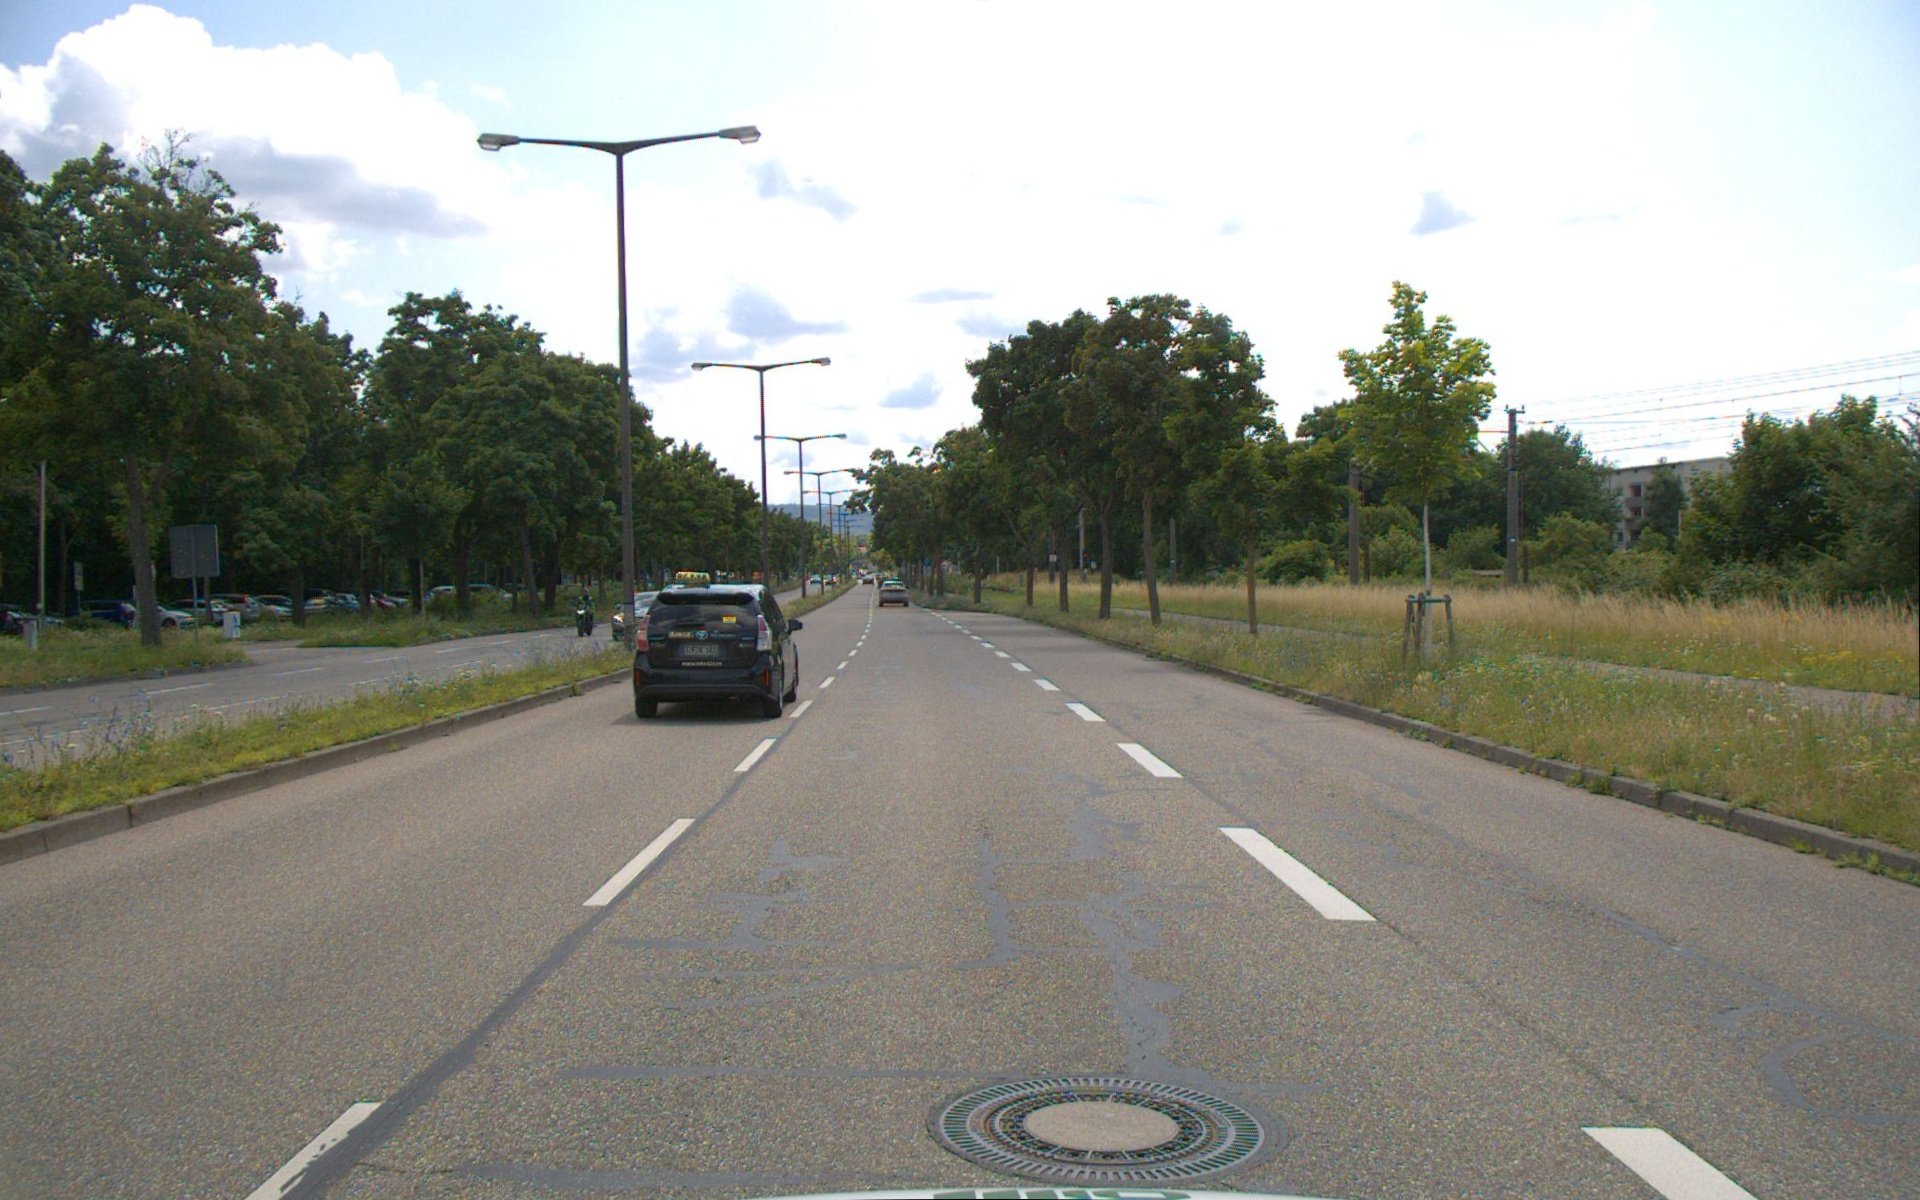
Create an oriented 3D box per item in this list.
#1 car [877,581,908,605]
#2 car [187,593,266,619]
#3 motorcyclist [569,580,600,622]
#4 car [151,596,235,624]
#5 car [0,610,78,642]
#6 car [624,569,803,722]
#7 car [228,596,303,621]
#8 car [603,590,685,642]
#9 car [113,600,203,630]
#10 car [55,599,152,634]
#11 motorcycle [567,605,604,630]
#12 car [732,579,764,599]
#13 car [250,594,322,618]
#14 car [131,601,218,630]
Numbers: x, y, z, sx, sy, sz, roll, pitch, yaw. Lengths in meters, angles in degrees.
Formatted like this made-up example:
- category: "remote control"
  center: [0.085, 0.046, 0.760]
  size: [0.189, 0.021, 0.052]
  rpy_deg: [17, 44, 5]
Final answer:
- category: "car"
  center: [-4.476, -0.466, 109.610]
  size: [1.954, 1.534, 3.998]
  rpy_deg: [0, 1, -4]
- category: "car"
  center: [-41.818, 0.349, 94.310]
  size: [3.706, 1.412, 1.786]
  rpy_deg: [0, 1, 2]
- category: "motorcyclist"
  center: [-13.013, 0.027, 57.320]
  size: [0.810, 1.438, 1.328]
  rpy_deg: [0, 1, -2]
- category: "car"
  center: [-41.276, 0.544, 89.067]
  size: [3.706, 1.412, 1.786]
  rpy_deg: [0, 1, 2]
- category: "car"
  center: [-40.448, 1.117, 71.415]
  size: [3.709, 1.269, 1.785]
  rpy_deg: [0, 1, -2]
- category: "car"
  center: [-2.974, 0.478, 20.714]
  size: [1.743, 1.713, 3.999]
  rpy_deg: [0, 1, -2]
- category: "car"
  center: [-41.384, 0.497, 98.560]
  size: [3.706, 1.412, 1.786]
  rpy_deg: [0, 1, 2]
- category: "car"
  center: [-9.822, 0.473, 51.787]
  size: [1.774, 1.422, 4.732]
  rpy_deg: [-1, 1, -2]
- category: "car"
  center: [-40.995, 0.760, 84.603]
  size: [3.706, 1.412, 1.786]
  rpy_deg: [0, 1, 2]
- category: "car"
  center: [-40.853, 0.778, 78.962]
  size: [3.706, 1.595, 1.786]
  rpy_deg: [0, 1, 2]
- category: "motorcycle"
  center: [-12.988, 0.595, 57.400]
  size: [0.736, 0.785, 2.671]
  rpy_deg: [0, 1, -1]
- category: "car"
  center: [-16.307, -0.862, 127.300]
  size: [1.840, 1.534, 3.798]
  rpy_deg: [0, 1, 1]
- category: "car"
  center: [-41.907, 0.355, 102.837]
  size: [3.706, 1.412, 1.786]
  rpy_deg: [0, 1, 2]
- category: "car"
  center: [-41.230, 0.811, 86.847]
  size: [3.706, 1.412, 1.786]
  rpy_deg: [0, 1, 2]
